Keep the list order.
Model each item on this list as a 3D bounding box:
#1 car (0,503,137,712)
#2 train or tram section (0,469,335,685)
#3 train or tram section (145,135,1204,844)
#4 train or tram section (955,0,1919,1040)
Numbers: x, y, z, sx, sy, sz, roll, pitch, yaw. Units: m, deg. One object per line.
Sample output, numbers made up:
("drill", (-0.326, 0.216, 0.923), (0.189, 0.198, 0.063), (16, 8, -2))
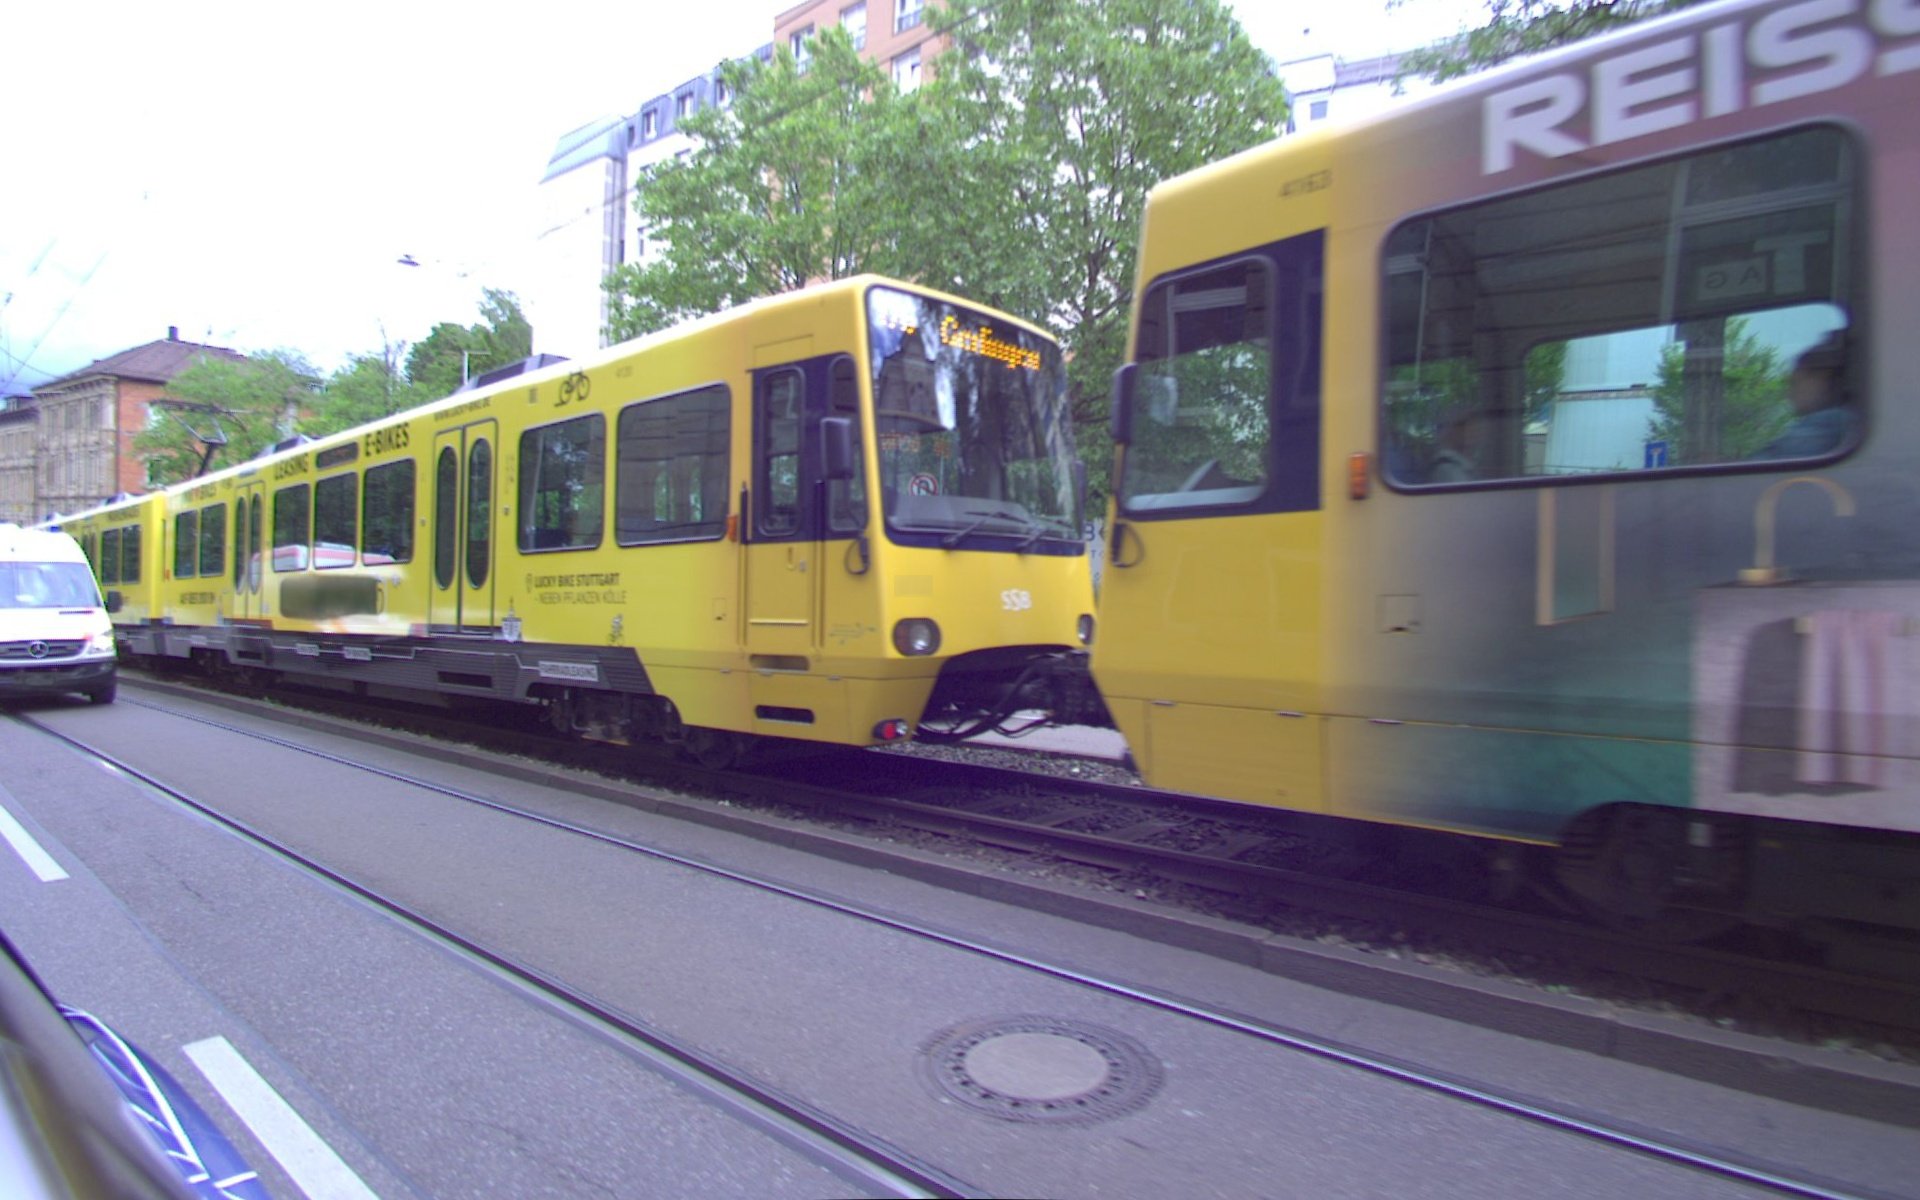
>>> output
("car", (-14.568, 0.132, 15.295), (5.845, 2.720, 2.014), (-1, 0, 38))
("train or tram section", (-18.917, -0.368, 23.412), (14.840, 3.753, 2.854), (-1, 1, 39))
("train or tram section", (-6.183, -0.544, 12.589), (18.692, 3.753, 2.847), (-1, 1, 41))
("train or tram section", (7.992, -0.685, 0.213), (18.747, 3.753, 2.847), (-1, 1, 41))
